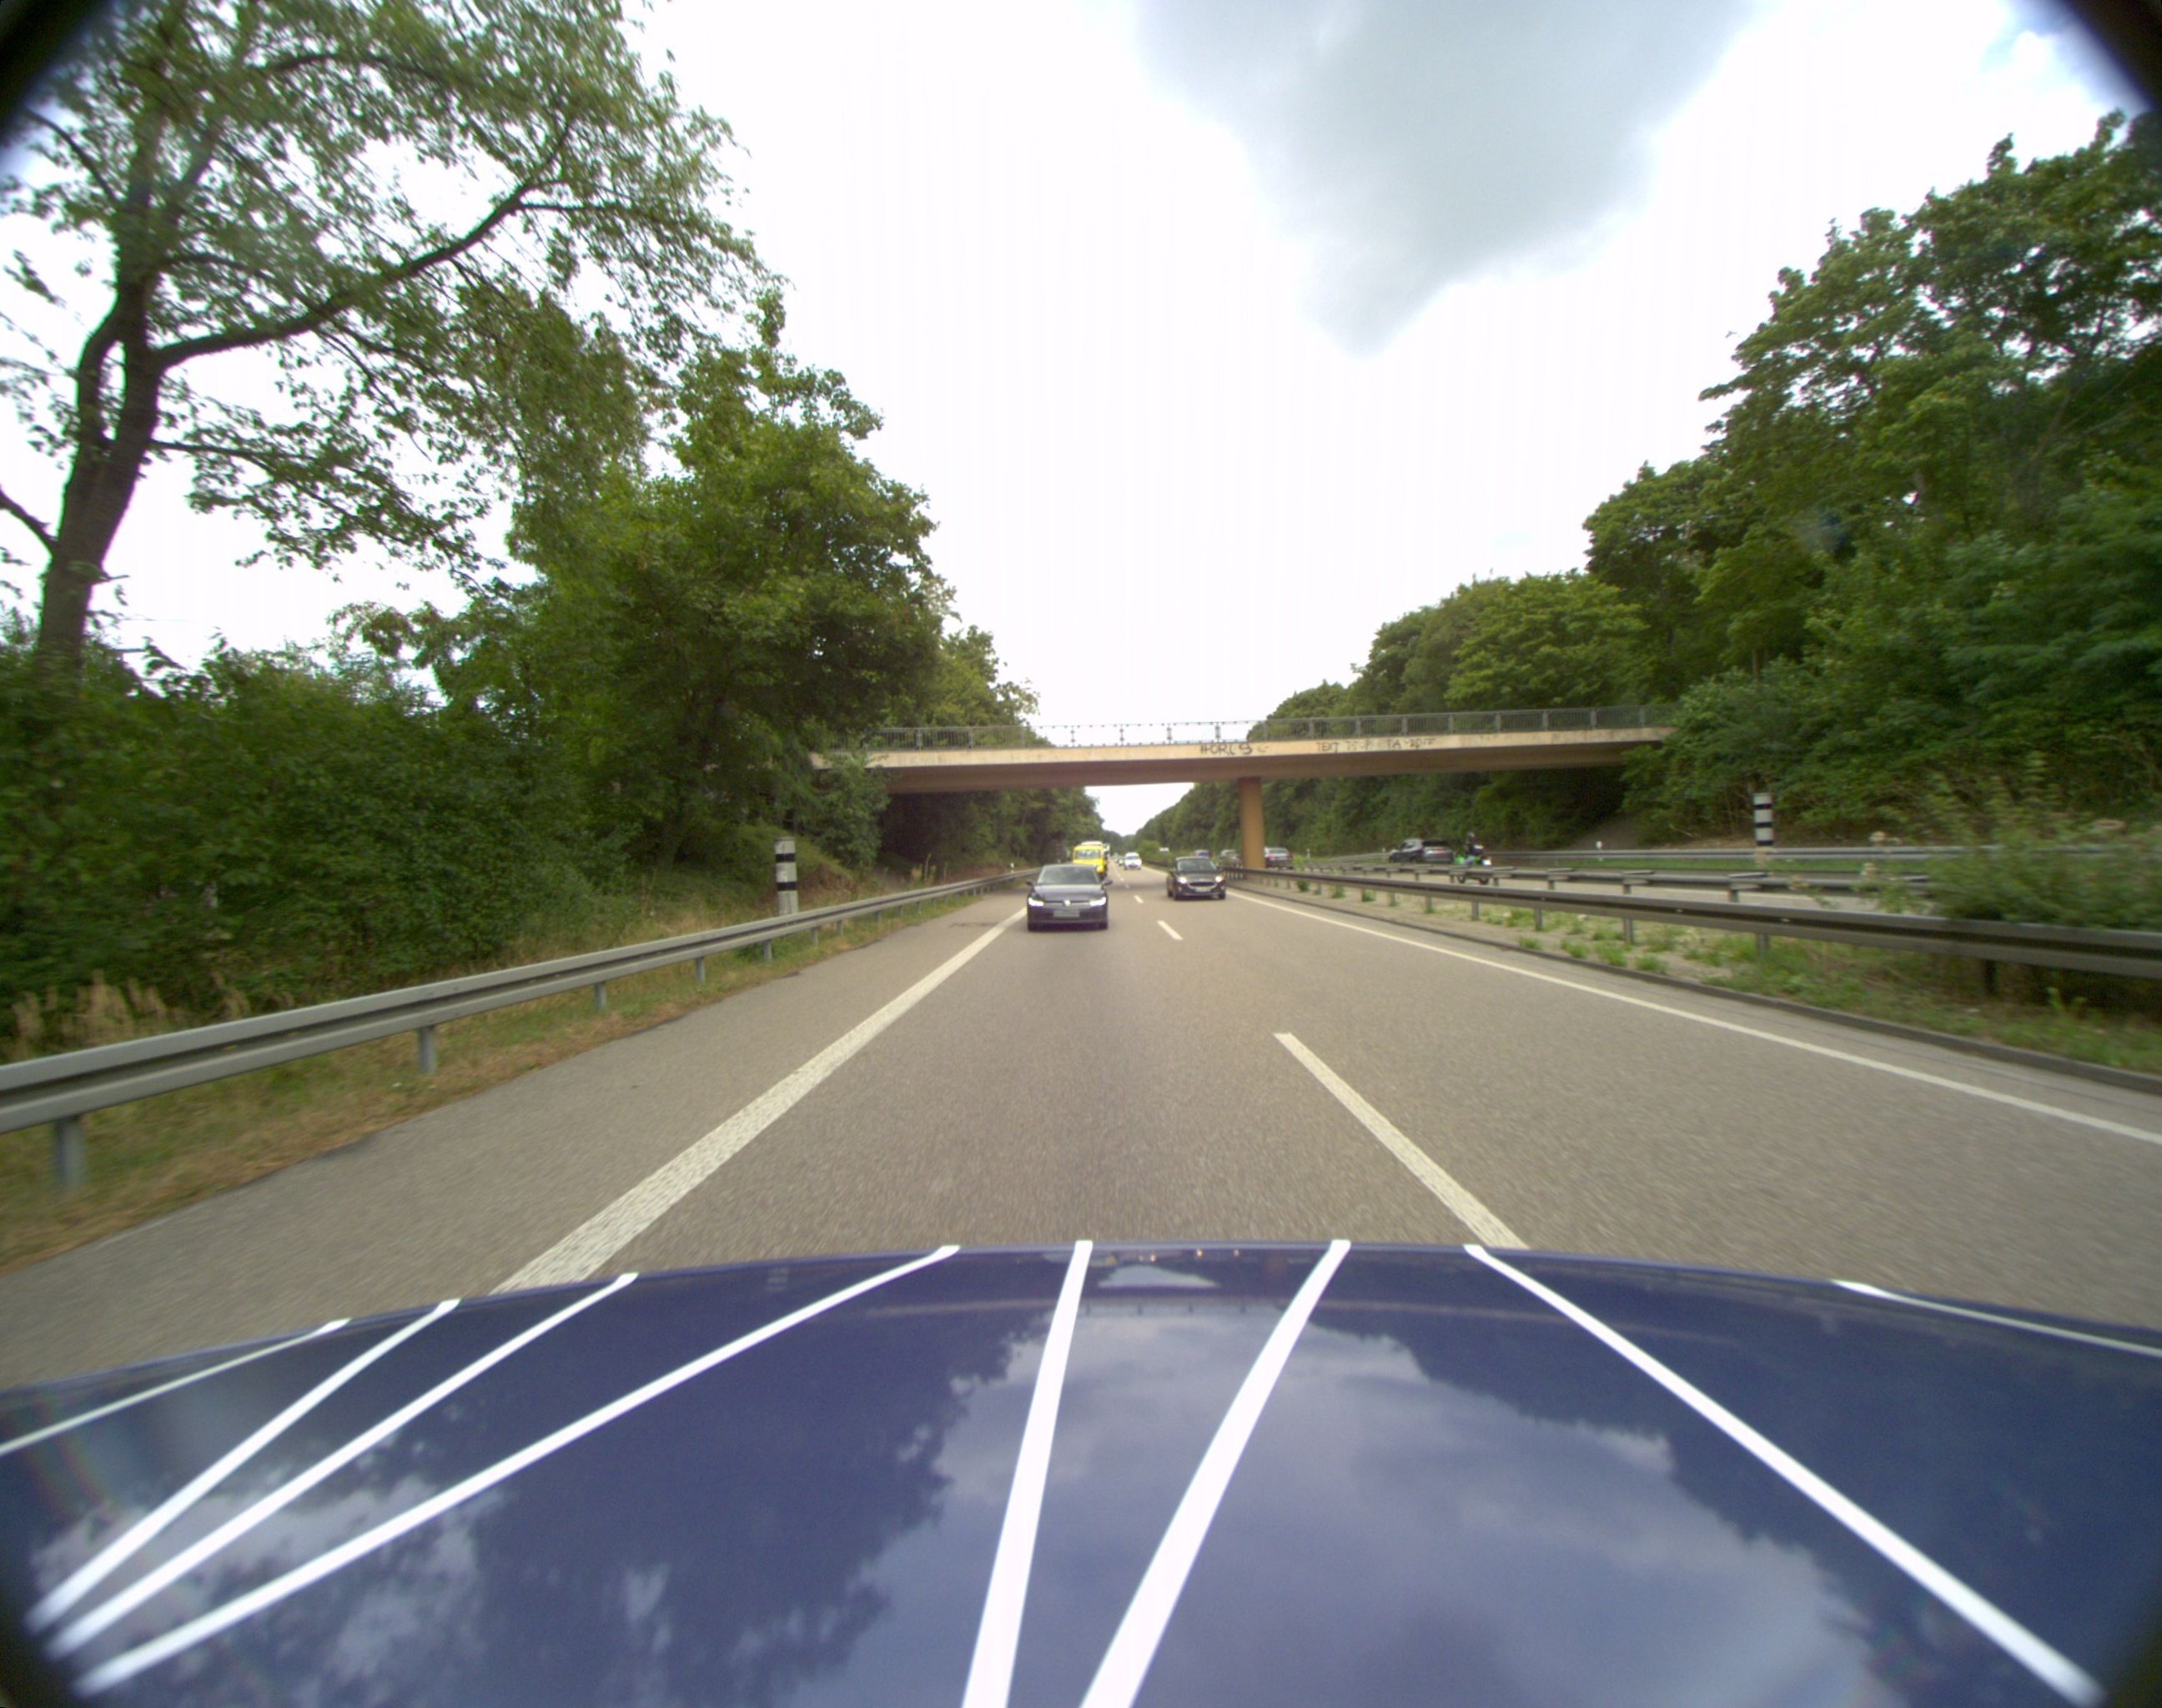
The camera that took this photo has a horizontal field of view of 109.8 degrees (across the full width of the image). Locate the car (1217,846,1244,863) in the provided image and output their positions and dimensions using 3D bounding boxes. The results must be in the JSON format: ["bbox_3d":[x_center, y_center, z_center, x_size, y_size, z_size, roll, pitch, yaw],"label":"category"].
[{"bbox_3d":[13.302,0.025,67.956,1.693,1.455,3.989,-2,1,2],"label":"car"}]

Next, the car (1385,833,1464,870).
[{"bbox_3d":[16.955,-0.143,37.773,1.898,1.642,4.639,-2,1,1],"label":"car"}]

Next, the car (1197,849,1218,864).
[{"bbox_3d":[15.074,0.256,90.720,1.898,1.642,4.639,-2,1,1],"label":"car"}]

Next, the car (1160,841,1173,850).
[{"bbox_3d":[17.444,-1.754,155.933,2.192,1.642,4.639,-2,1,1],"label":"car"}]

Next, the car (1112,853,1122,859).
[{"bbox_3d":[7.923,0.433,168.088,1.998,1.422,4.000,-2,1,2],"label":"car"}]

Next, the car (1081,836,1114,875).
[{"bbox_3d":[1.169,0.096,57.677,2.208,2.732,6.166,-2,1,-1],"label":"car"}]

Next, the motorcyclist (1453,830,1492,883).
[{"bbox_3d":[11.876,0.075,23.063,0.682,1.540,0.846,-3,1,1],"label":"motorcyclist"}]

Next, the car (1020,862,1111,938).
[{"bbox_3d":[-0.279,0.952,17.700,1.800,1.398,4.639,-2,1,1],"label":"car"}]

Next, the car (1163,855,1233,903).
[{"bbox_3d":[4.034,0.812,26.877,1.830,1.449,4.639,-2,1,1],"label":"car"}]

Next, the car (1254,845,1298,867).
[{"bbox_3d":[12.756,0.108,50.016,1.693,1.372,4.936,-2,1,2],"label":"car"}]

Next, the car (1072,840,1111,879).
[{"bbox_3d":[0.623,0.304,48.843,2.248,2.334,5.223,-2,1,-1],"label":"car"}]

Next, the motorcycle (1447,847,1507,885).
[{"bbox_3d":[11.869,0.331,22.858,0.703,1.061,2.196,-2,1,1],"label":"motorcycle"}]

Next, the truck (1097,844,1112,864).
[{"bbox_3d":[4.342,-0.027,141.917,2.548,3.564,6.456,-2,1,1],"label":"truck"}]

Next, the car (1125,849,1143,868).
[{"bbox_3d":[5.993,0.479,85.726,1.821,1.993,4.423,-2,1,2],"label":"car"}]

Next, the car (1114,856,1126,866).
[{"bbox_3d":[6.063,1.107,118.389,1.772,1.416,4.198,-2,1,1],"label":"car"}]
